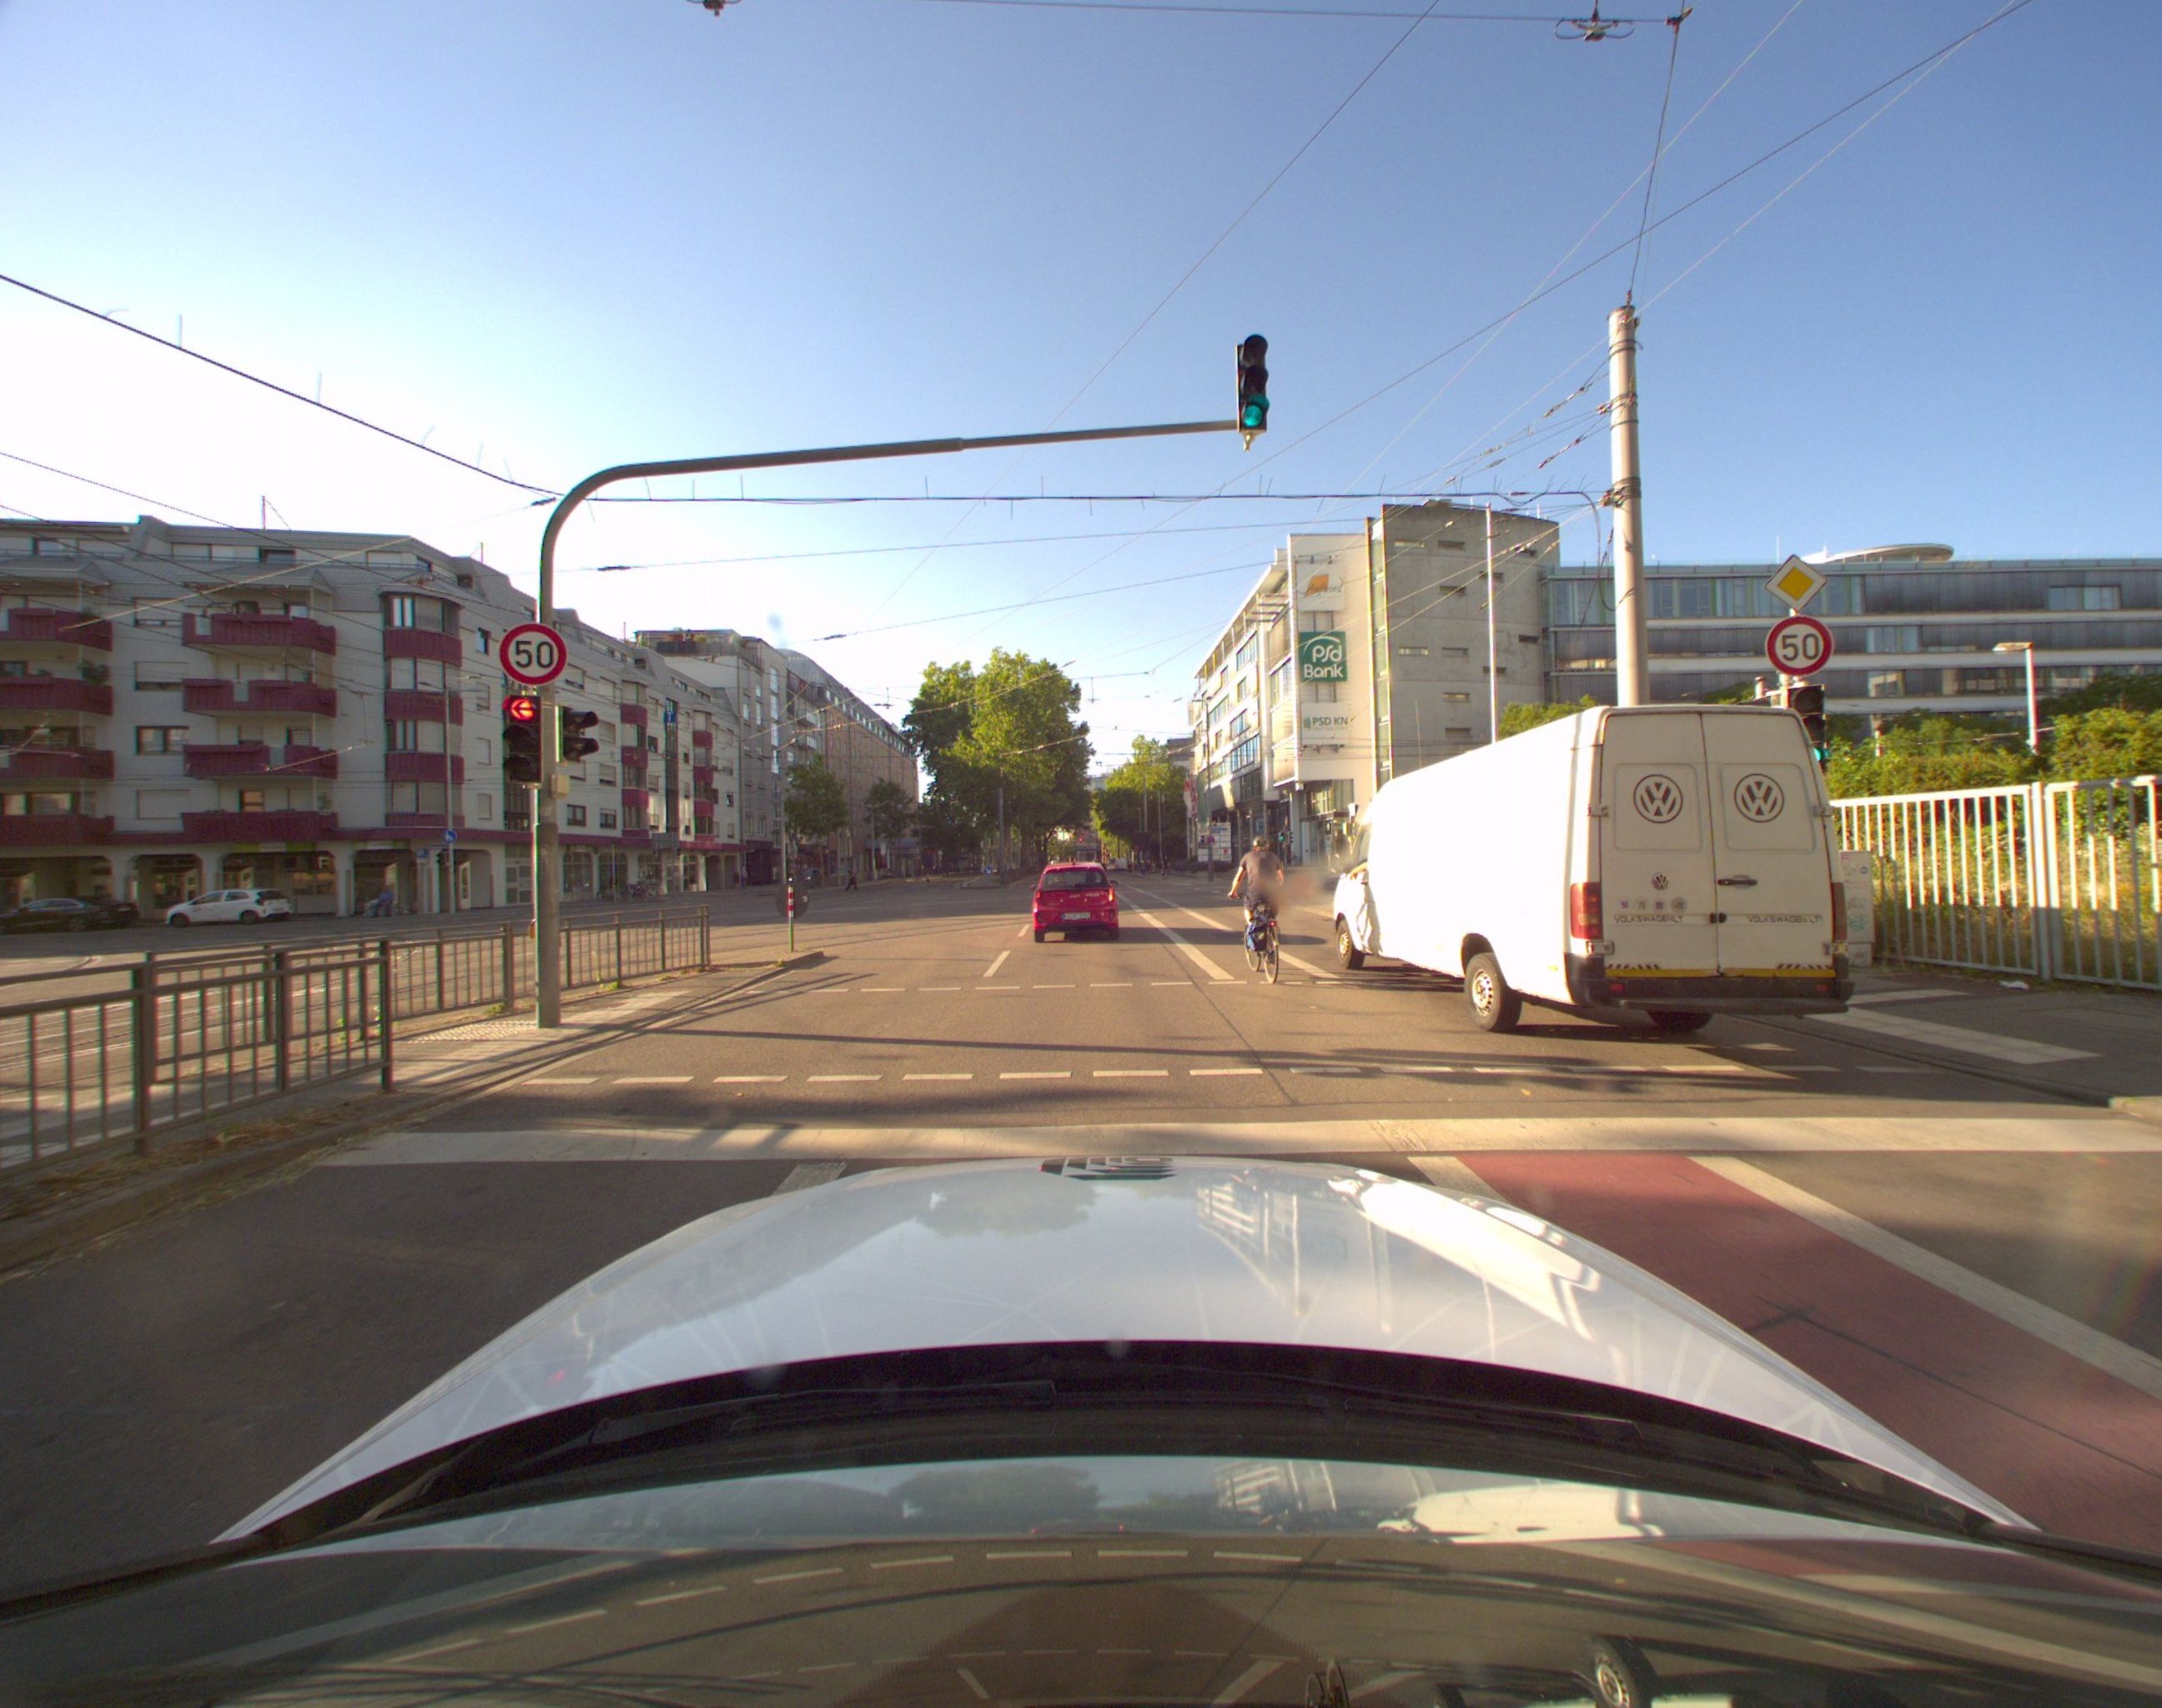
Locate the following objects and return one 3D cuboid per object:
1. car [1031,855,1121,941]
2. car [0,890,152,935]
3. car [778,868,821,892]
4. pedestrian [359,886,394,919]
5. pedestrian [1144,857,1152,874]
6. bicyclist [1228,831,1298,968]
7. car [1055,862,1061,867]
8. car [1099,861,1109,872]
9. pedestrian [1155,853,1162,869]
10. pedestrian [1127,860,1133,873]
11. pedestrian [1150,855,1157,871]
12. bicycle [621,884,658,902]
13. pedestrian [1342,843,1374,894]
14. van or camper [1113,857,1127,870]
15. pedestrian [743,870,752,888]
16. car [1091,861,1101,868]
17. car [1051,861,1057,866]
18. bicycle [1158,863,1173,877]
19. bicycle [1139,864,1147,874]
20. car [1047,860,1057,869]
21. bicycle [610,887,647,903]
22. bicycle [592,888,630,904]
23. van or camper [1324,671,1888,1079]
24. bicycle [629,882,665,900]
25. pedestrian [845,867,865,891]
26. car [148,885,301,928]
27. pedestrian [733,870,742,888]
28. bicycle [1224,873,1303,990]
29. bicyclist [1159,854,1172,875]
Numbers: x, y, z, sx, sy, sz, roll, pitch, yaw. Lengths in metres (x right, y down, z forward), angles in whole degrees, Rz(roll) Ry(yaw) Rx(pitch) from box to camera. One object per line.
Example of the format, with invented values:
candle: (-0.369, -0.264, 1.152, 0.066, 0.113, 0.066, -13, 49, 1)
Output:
car: (-0.100, 0.803, 16.431, 1.608, 1.535, 3.410, -1, 0, -1)
car: (-41.246, 2.358, 33.178, 4.109, 1.555, 1.993, -2, 0, -10)
car: (-22.197, 2.024, 64.388, 1.949, 1.672, 4.258, -2, 0, -1)
pedestrian: (-31.343, 2.165, 36.257, 0.857, 1.384, 0.833, -2, -1, -12)
pedestrian: (6.830, 1.202, 82.959, 0.645, 1.680, 0.651, -2, -1, -2)
bicyclist: (2.259, 0.546, 10.224, 0.647, 1.603, 1.090, -2, -1, 4)
car: (-7.122, 3.204, 251.373, 1.775, 1.535, 3.405, -1, 0, -5)
car: (3.864, 2.083, 138.841, 1.629, 1.800, 3.330, -2, 0, 1)
pedestrian: (8.709, 0.812, 91.673, 0.539, 1.796, 0.906, -5, -1, -3)
pedestrian: (6.077, 1.569, 100.839, 0.639, 1.579, 0.724, -5, -1, 2)
pedestrian: (8.095, 1.005, 90.842, 0.563, 1.702, 0.906, -5, -1, -3)
bicycle: (-26.065, 2.308, 48.108, 1.839, 0.985, 0.552, -2, -1, -4)
pedestrian: (10.222, 0.524, 30.106, 0.774, 1.823, 1.217, -2, -1, 4)
van or camper: (6.070, 1.475, 126.672, 1.987, 1.989, 4.744, -1, -1, 0)
pedestrian: (-28.873, 2.165, 70.437, 0.533, 1.494, 0.587, -2, -1, -4)
car: (3.164, 2.152, 169.963, 1.775, 1.535, 3.505, -1, 0, -5)
car: (-8.510, 2.962, 257.934, 1.775, 1.535, 3.405, -1, 0, -5)
bicycle: (6.816, 1.285, 65.513, 0.696, 1.098, 1.746, -5, 0, -8)
bicycle: (6.333, 1.504, 83.027, 0.519, 0.975, 2.201, -5, 0, 0)
car: (-6.575, 2.317, 184.837, 1.990, 2.013, 3.994, -2, 0, -4)
bicycle: (-26.019, 2.335, 46.834, 1.836, 0.854, 0.553, -2, -1, 1)
bicycle: (-26.607, 2.362, 46.094, 1.836, 0.854, 0.553, -2, -1, 1)
van or camper: (4.466, 0.157, 8.627, 1.962, 2.716, 6.305, -1, 0, 1)
bicycle: (-25.958, 2.213, 48.719, 1.839, 0.985, 0.552, -2, -1, -4)
pedestrian: (-14.873, 1.654, 53.570, 1.043, 1.544, 0.694, -2, -1, -1)
car: (-35.951, 2.184, 34.286, 3.986, 1.555, 1.993, -2, 0, -10)
pedestrian: (-29.651, 2.169, 70.266, 0.533, 1.494, 0.587, -2, -1, -4)
bicycle: (2.262, 0.914, 10.326, 0.647, 1.281, 1.968, -2, 0, 4)
bicyclist: (6.776, 0.865, 65.484, 0.721, 1.603, 1.085, -4, 0, -9)
